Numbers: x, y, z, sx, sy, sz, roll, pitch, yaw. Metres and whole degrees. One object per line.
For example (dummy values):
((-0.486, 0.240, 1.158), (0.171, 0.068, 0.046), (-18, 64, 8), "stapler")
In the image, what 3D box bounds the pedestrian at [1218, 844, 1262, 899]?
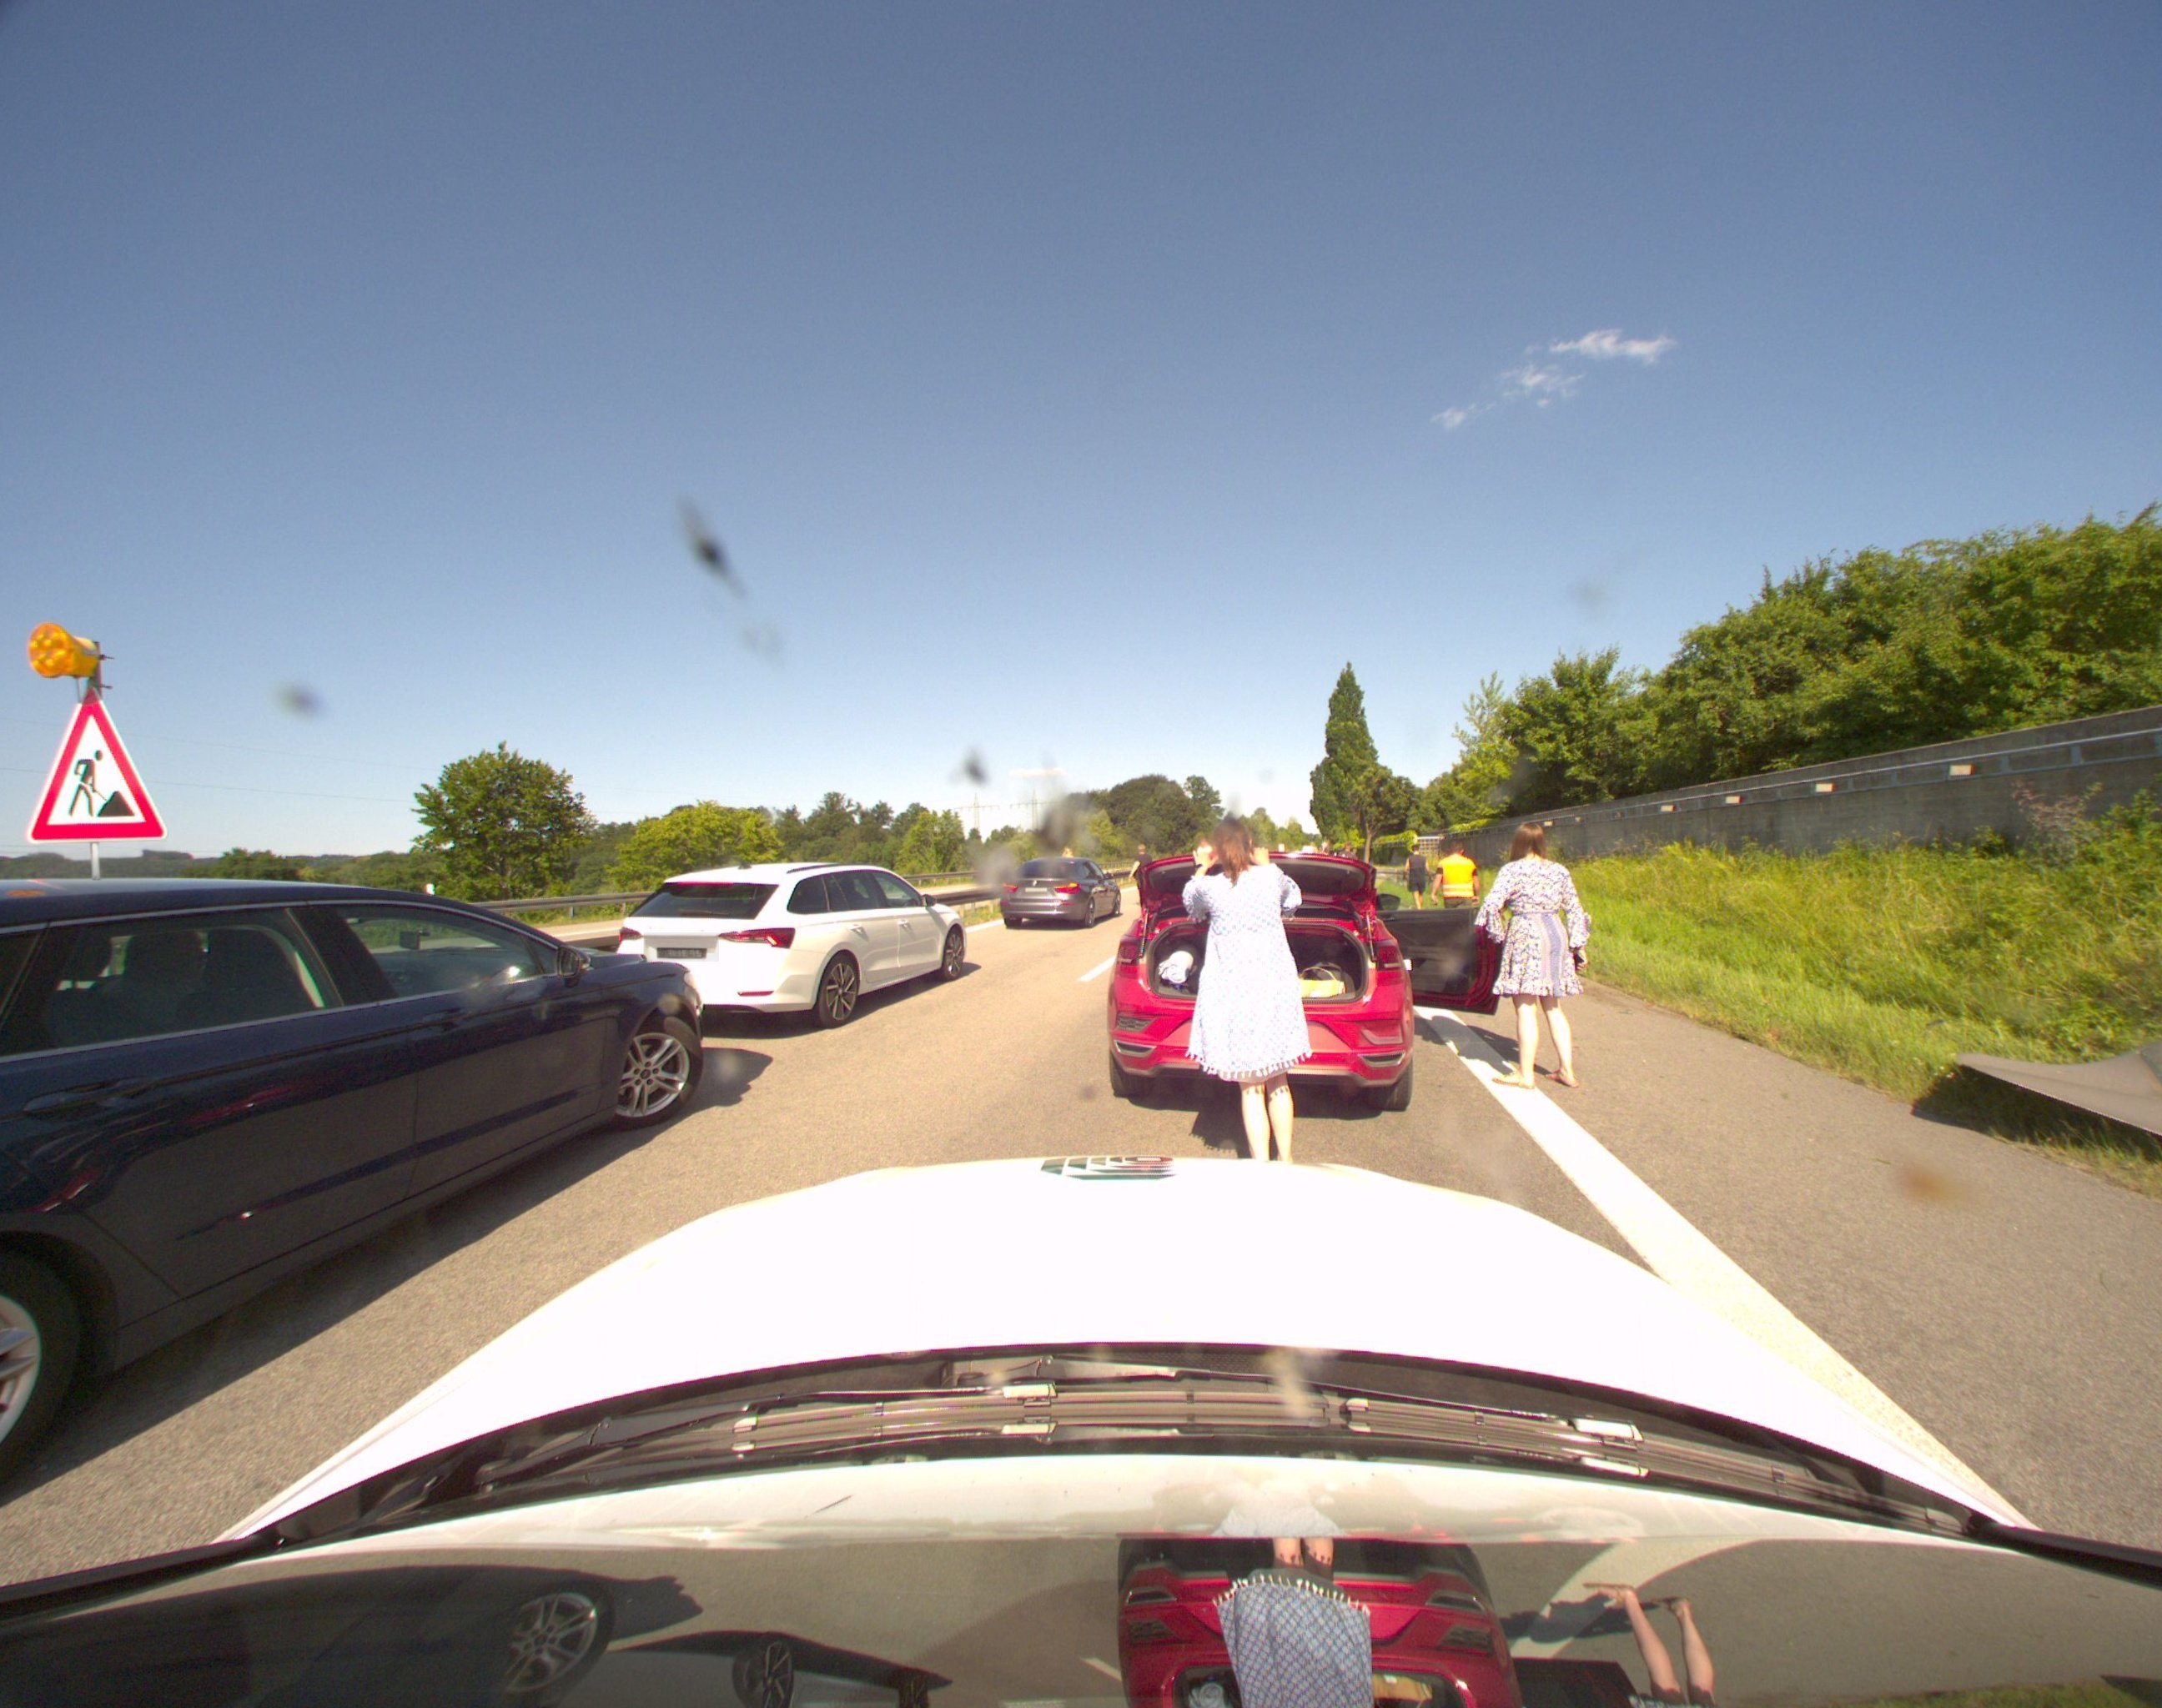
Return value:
((5.307, 0.582, 27.216), (1.090, 1.789, 1.102), (0, -1, -15), "pedestrian")

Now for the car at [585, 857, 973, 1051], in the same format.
((-2.664, 0.768, 8.392), (1.683, 1.441, 4.225), (0, 0, 13), "car")

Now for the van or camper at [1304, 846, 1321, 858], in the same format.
((43.497, -0.367, 153.211), (1.974, 2.316, 4.498), (0, 0, 30), "van or camper")

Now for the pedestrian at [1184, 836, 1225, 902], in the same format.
((3.738, 0.444, 24.760), (1.100, 1.912, 1.259), (-2, 0, 5), "pedestrian")

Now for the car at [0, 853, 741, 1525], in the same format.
((-3.232, 0.773, 2.988), (1.780, 1.493, 4.498), (-2, 0, 4), "car")

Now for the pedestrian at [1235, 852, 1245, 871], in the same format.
((14.127, 0.629, 72.343), (0.785, 1.689, 0.796), (0, -1, 18), "pedestrian")

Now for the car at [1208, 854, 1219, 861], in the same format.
((25.548, 0.645, 157.263), (1.682, 1.426, 4.322), (0, 0, 15), "car")

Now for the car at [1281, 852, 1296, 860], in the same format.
((39.640, 0.383, 155.817), (1.716, 1.487, 4.236), (0, 0, 29), "car")

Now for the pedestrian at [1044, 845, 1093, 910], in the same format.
((-0.344, 0.659, 23.189), (1.033, 1.763, 1.123), (-2, 0, 15), "pedestrian")

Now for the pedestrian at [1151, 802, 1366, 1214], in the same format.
((0.815, 0.639, 3.777), (0.833, 1.683, 0.746), (-2, 0, 13), "pedestrian")

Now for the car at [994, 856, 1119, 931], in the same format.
((-0.389, 0.770, 17.955), (1.683, 1.426, 4.349), (0, 0, 13), "car")

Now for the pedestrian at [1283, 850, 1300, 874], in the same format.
((14.835, 0.548, 57.419), (1.105, 1.689, 0.978), (0, -1, 18), "pedestrian")

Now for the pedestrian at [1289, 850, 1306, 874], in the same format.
((15.486, 0.551, 58.293), (1.047, 1.689, 1.022), (0, -1, 19), "pedestrian")

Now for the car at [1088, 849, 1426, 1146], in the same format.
((1.356, 0.715, 6.318), (1.720, 1.487, 4.225), (0, 0, 13), "car")

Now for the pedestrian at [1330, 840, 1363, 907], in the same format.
((7.173, 0.520, 21.996), (0.805, 1.759, 0.832), (0, -1, 18), "pedestrian")

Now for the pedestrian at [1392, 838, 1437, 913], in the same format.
((7.824, 0.503, 19.146), (0.888, 1.725, 0.757), (0, -1, 14), "pedestrian")

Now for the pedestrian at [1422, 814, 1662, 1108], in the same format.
((2.947, 0.627, 5.351), (0.887, 1.695, 1.128), (-2, 0, 0), "pedestrian")

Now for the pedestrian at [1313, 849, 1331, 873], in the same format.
((17.010, 0.470, 57.462), (0.986, 1.689, 1.017), (-1, -1, 36), "pedestrian")

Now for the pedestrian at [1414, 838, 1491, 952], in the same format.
((5.663, 0.600, 12.483), (0.949, 1.654, 1.285), (-2, 0, 21), "pedestrian")

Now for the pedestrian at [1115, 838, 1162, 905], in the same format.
((1.685, 0.504, 23.862), (1.056, 1.883, 1.099), (-2, 0, 20), "pedestrian")
